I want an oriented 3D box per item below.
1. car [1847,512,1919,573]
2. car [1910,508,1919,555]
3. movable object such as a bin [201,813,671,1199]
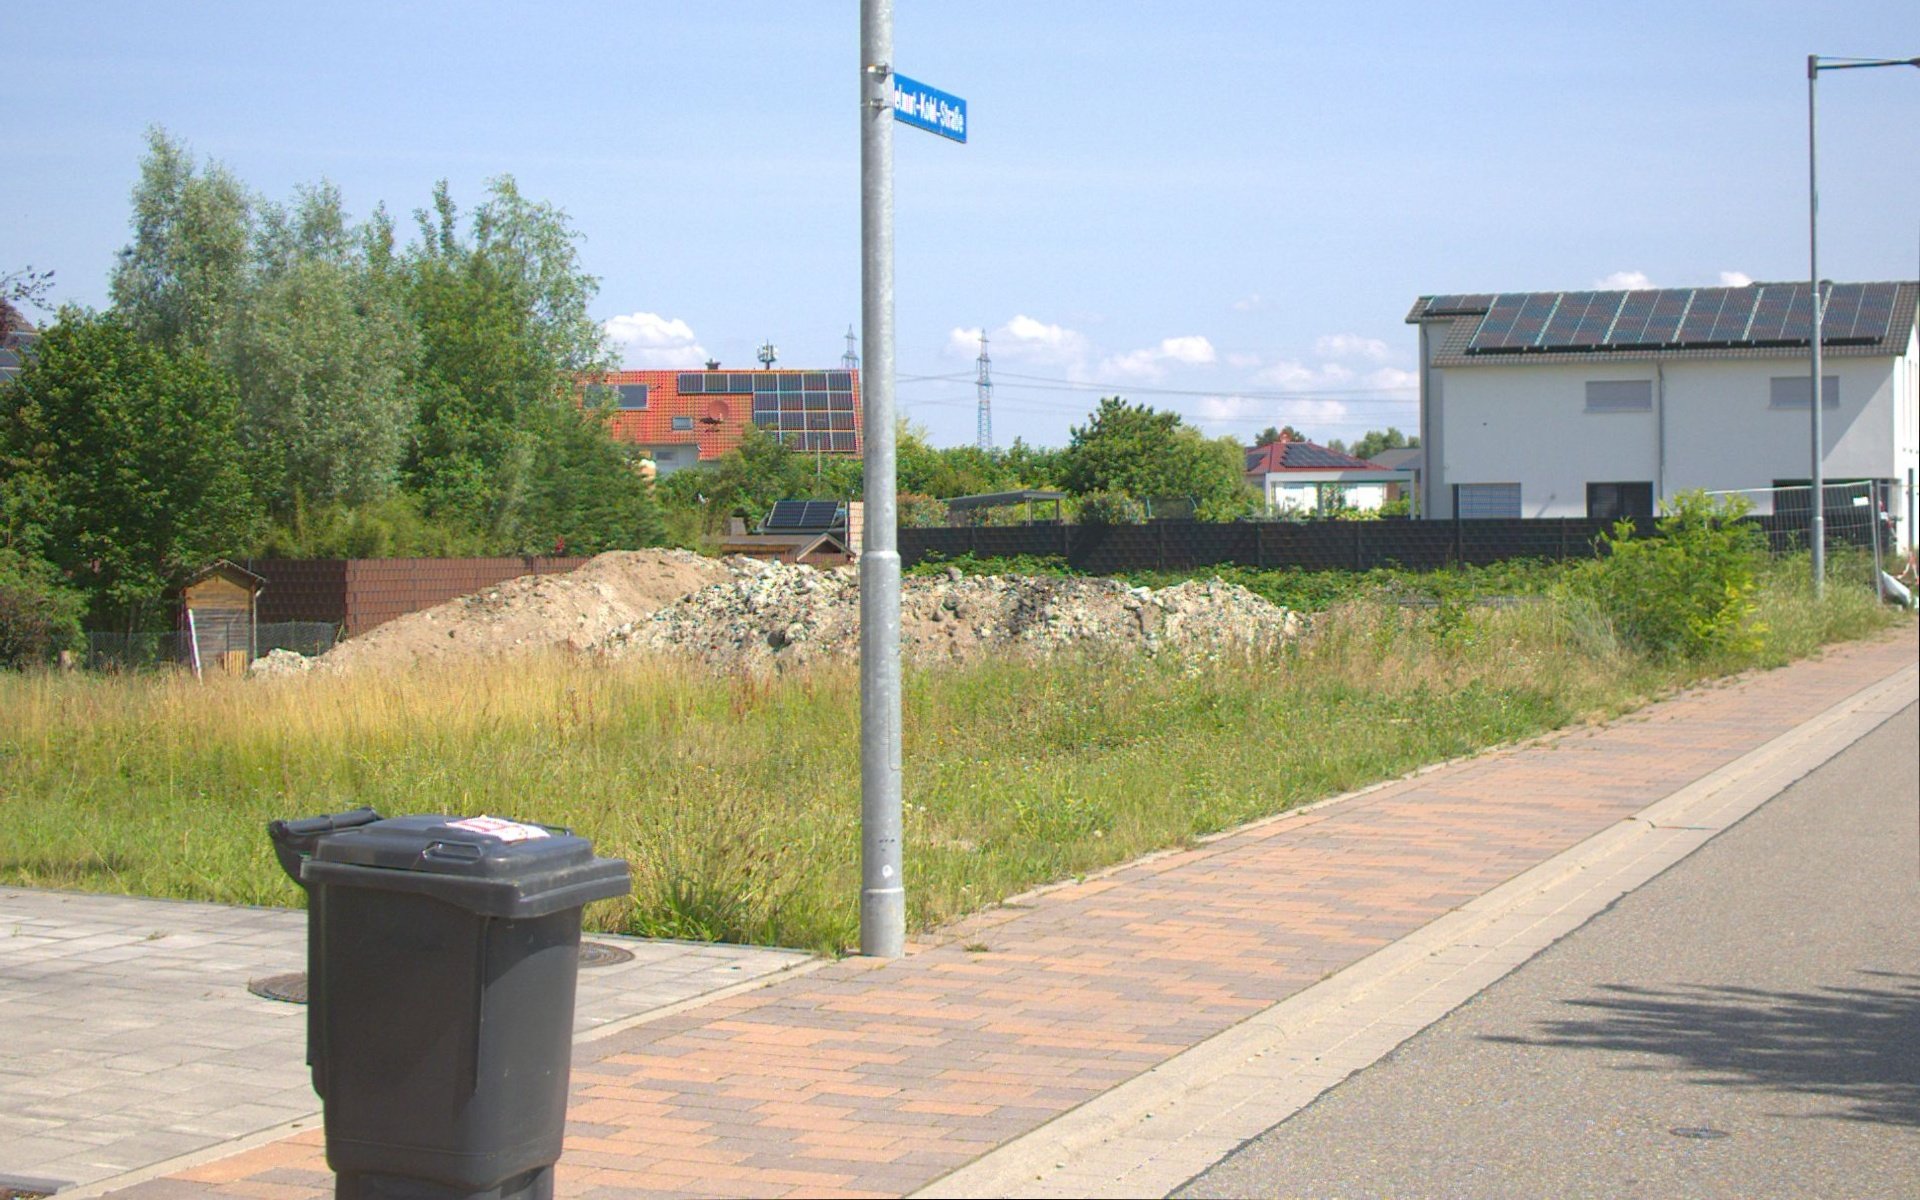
[{"bbox_3d":[26.112,-1.541,92.490,4.074,1.576,1.782,2,3,26],"label":"car"},{"bbox_3d":[33.174,-2.093,111.575,4.161,1.499,1.815,4,2,5],"label":"car"},{"bbox_3d":[-0.863,0.851,5.733,0.623,0.945,0.499,0,0,16],"label":"movable object such as a bin"}]
